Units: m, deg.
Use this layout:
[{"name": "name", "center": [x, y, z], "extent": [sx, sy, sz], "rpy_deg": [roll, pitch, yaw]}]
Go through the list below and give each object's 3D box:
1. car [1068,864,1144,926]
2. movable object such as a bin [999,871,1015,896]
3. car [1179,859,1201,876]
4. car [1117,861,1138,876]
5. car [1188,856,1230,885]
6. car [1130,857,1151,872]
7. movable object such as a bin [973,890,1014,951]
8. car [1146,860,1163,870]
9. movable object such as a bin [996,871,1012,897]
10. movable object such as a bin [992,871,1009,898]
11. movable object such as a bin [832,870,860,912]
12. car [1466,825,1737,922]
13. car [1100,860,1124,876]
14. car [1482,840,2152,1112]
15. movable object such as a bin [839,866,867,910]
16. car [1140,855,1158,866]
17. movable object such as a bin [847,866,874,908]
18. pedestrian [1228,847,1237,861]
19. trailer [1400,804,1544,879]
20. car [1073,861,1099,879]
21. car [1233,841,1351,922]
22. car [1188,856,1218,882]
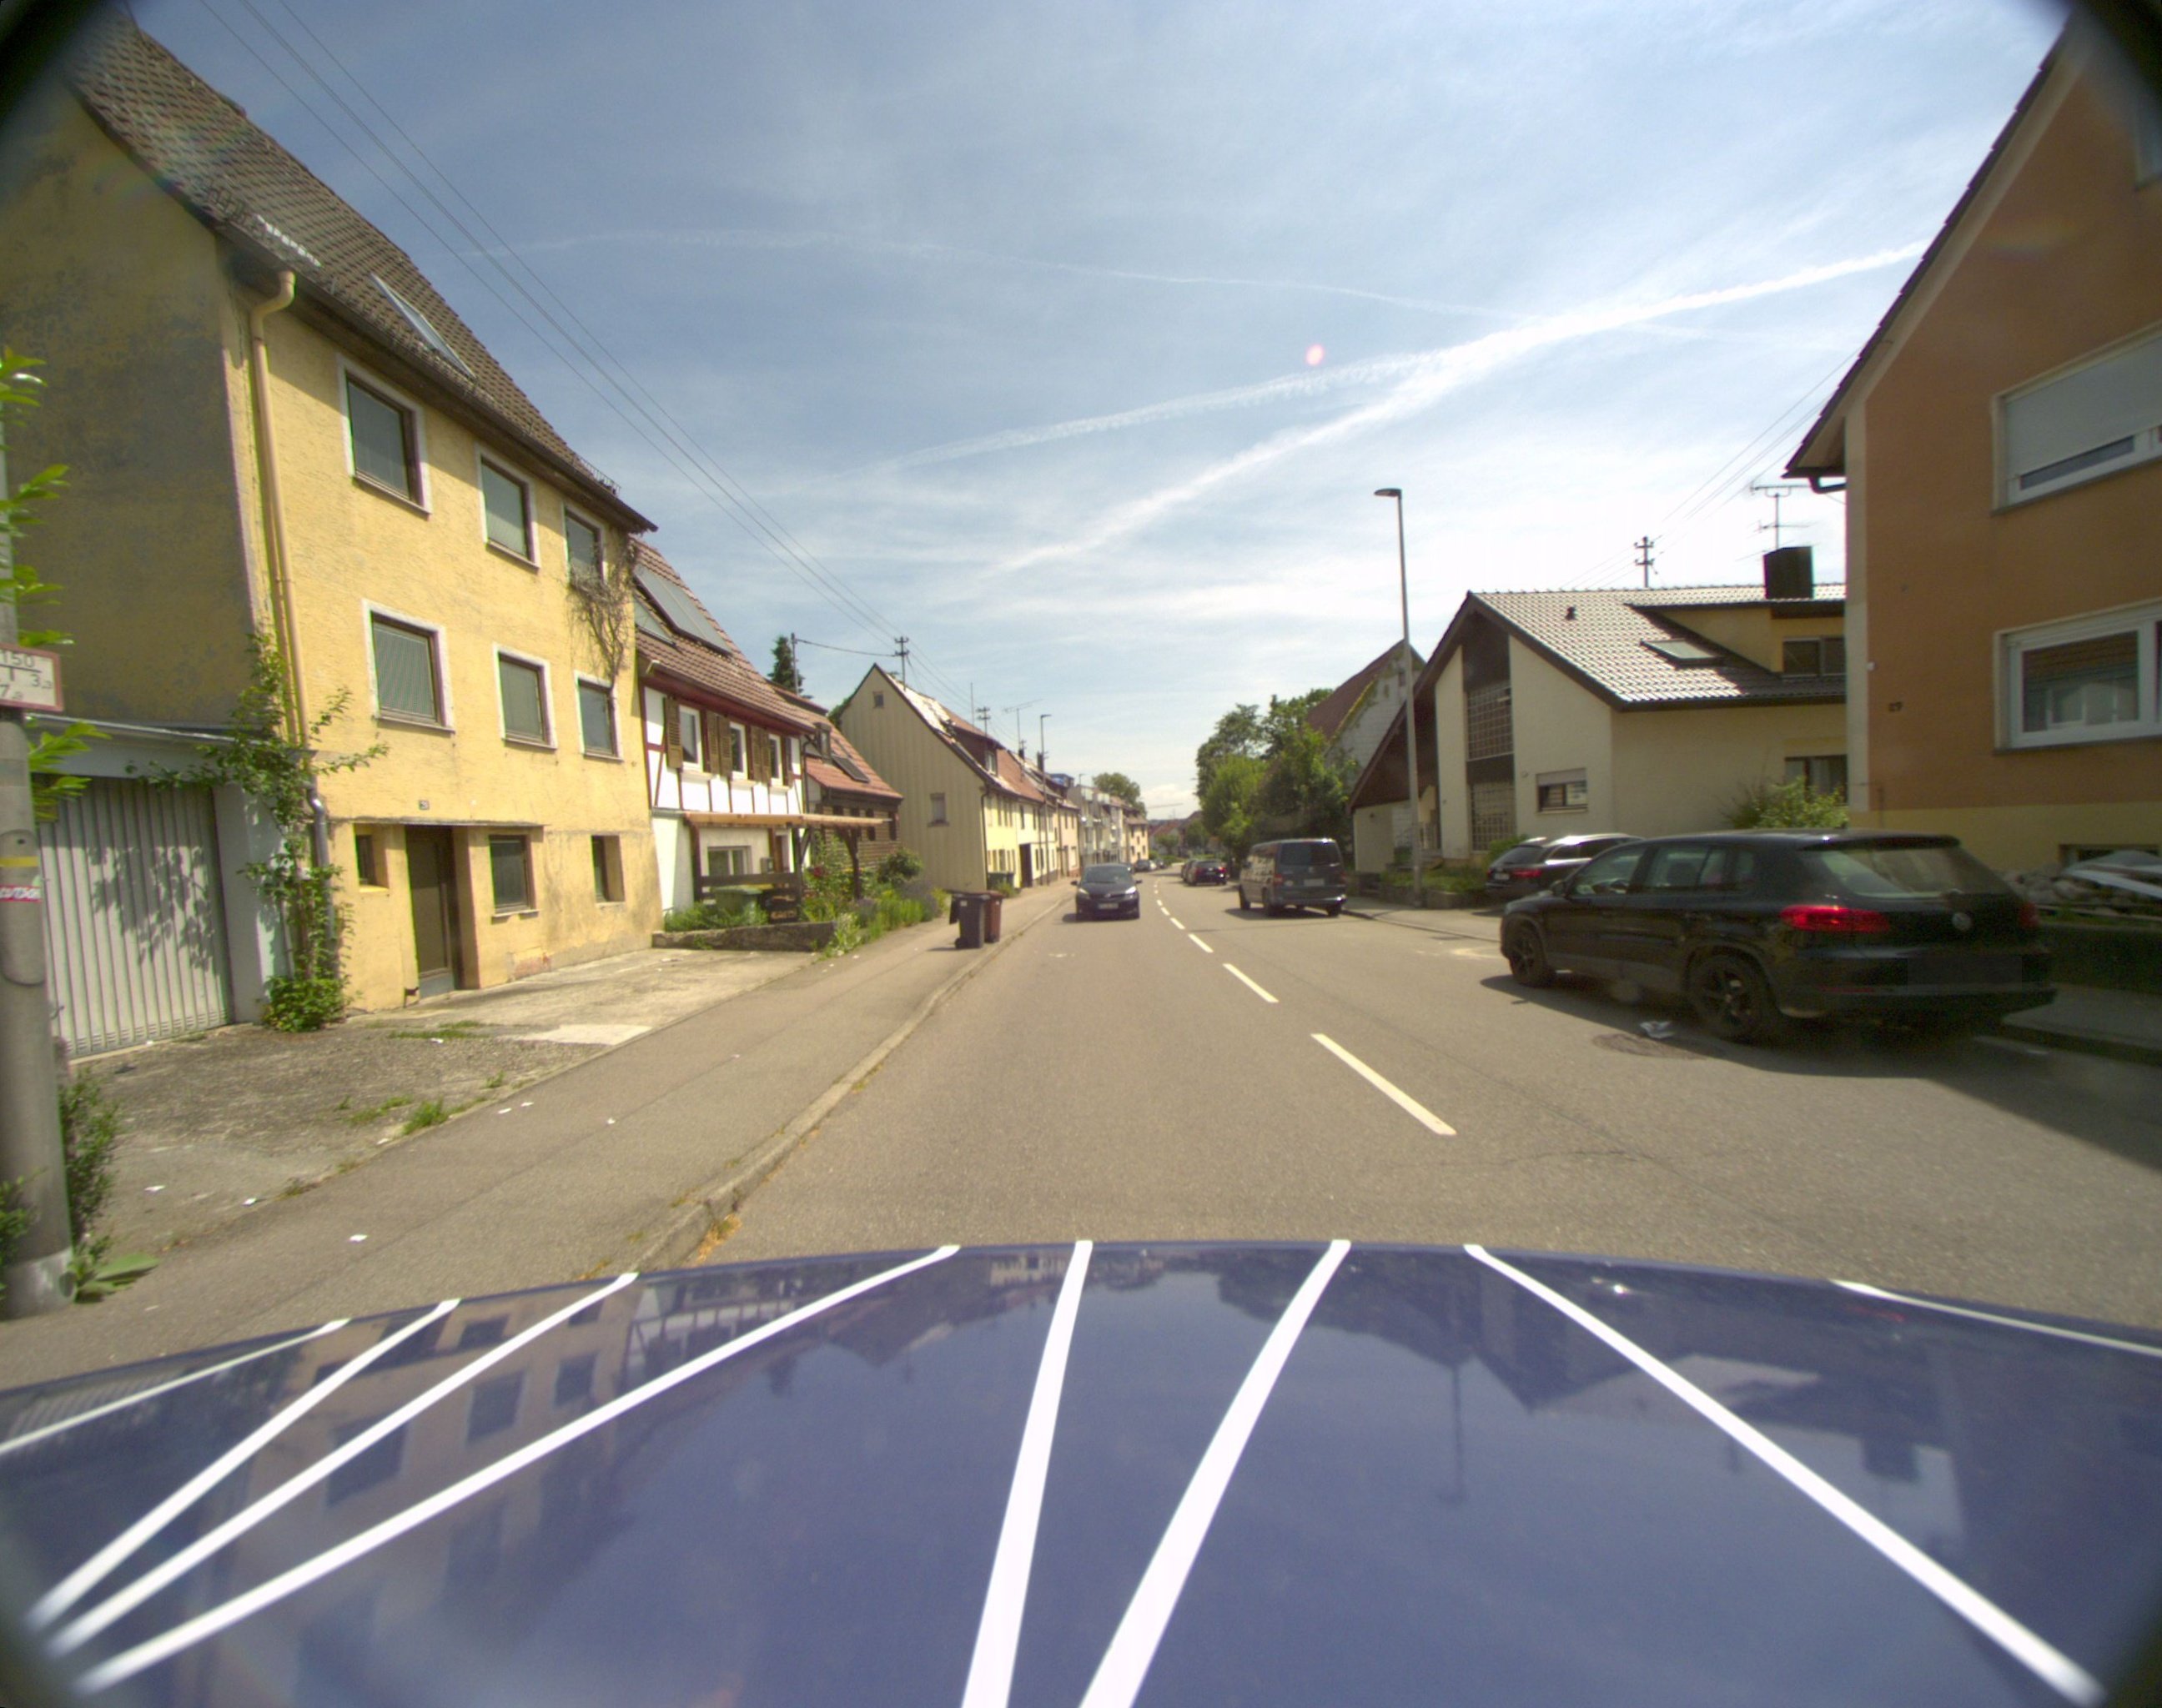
[{"name": "car", "center": [0.799, 1.054, 20.993], "extent": [1.724, 1.448, 4.432], "rpy_deg": [-1, 0, 6]}, {"name": "movable object such as a bin", "center": [-3.046, 1.214, 31.231], "extent": [0.548, 1.027, 0.552], "rpy_deg": [0, 0, 4]}, {"name": "car", "center": [9.709, 1.173, 67.528], "extent": [1.807, 1.415, 4.932], "rpy_deg": [-1, -1, 10]}, {"name": "car", "center": [5.016, 1.567, 82.188], "extent": [1.800, 1.416, 4.293], "rpy_deg": [-1, 0, 10]}, {"name": "car", "center": [7.109, 0.884, 42.561], "extent": [1.823, 1.464, 4.777], "rpy_deg": [-2, -1, 4]}, {"name": "car", "center": [7.398, 1.271, 94.443], "extent": [1.957, 1.706, 4.720], "rpy_deg": [-2, 0, 11]}, {"name": "movable object such as a bin", "center": [-1.570, 1.185, 13.616], "extent": [0.494, 1.027, 0.549], "rpy_deg": [2, 1, 25]}, {"name": "car", "center": [10.676, 1.584, 110.489], "extent": [1.791, 1.412, 4.362], "rpy_deg": [-2, 0, 14]}, {"name": "movable object such as a bin", "center": [-3.097, 1.209, 30.647], "extent": [0.548, 1.027, 0.552], "rpy_deg": [0, 0, 4]}, {"name": "movable object such as a bin", "center": [-3.157, 1.194, 29.715], "extent": [0.548, 1.027, 0.552], "rpy_deg": [0, 0, 4]}, {"name": "movable object such as a bin", "center": [-6.316, 0.987, 20.435], "extent": [0.536, 1.051, 0.549], "rpy_deg": [4, 1, -1]}, {"name": "car", "center": [10.434, 0.375, 15.429], "extent": [4.240, 1.397, 1.821], "rpy_deg": [-6, 0, -4]}, {"name": "car", "center": [2.913, 1.332, 71.108], "extent": [1.797, 1.394, 4.415], "rpy_deg": [-1, 0, 8]}, {"name": "car", "center": [5.685, 0.757, 6.826], "extent": [1.773, 1.626, 4.287], "rpy_deg": [-1, 0, -2]}, {"name": "movable object such as a bin", "center": [-6.309, 0.936, 21.049], "extent": [0.536, 1.151, 0.549], "rpy_deg": [4, 1, -1]}, {"name": "car", "center": [9.325, 0.833, 103.920], "extent": [1.792, 1.447, 4.720], "rpy_deg": [-2, 0, 11]}, {"name": "movable object such as a bin", "center": [-6.298, 0.936, 21.682], "extent": [0.536, 1.151, 0.511], "rpy_deg": [4, 1, 0]}, {"name": "pedestrian", "center": [17.797, -0.032, 89.261], "extent": [0.732, 1.607, 0.629], "rpy_deg": [-4, 1, -7]}, {"name": "trailer", "center": [13.817, -0.442, 27.033], "extent": [3.840, 2.002, 2.000], "rpy_deg": [-9, 0, 0]}, {"name": "car", "center": [0.464, 1.282, 61.538], "extent": [1.669, 1.344, 4.189], "rpy_deg": [-2, 0, 6]}, {"name": "car", "center": [5.589, 0.664, 20.818], "extent": [1.895, 1.926, 4.986], "rpy_deg": [-1, 0, 1]}, {"name": "car", "center": [7.779, 0.928, 48.672], "extent": [1.758, 1.512, 4.304], "rpy_deg": [-2, -1, 8]}]
